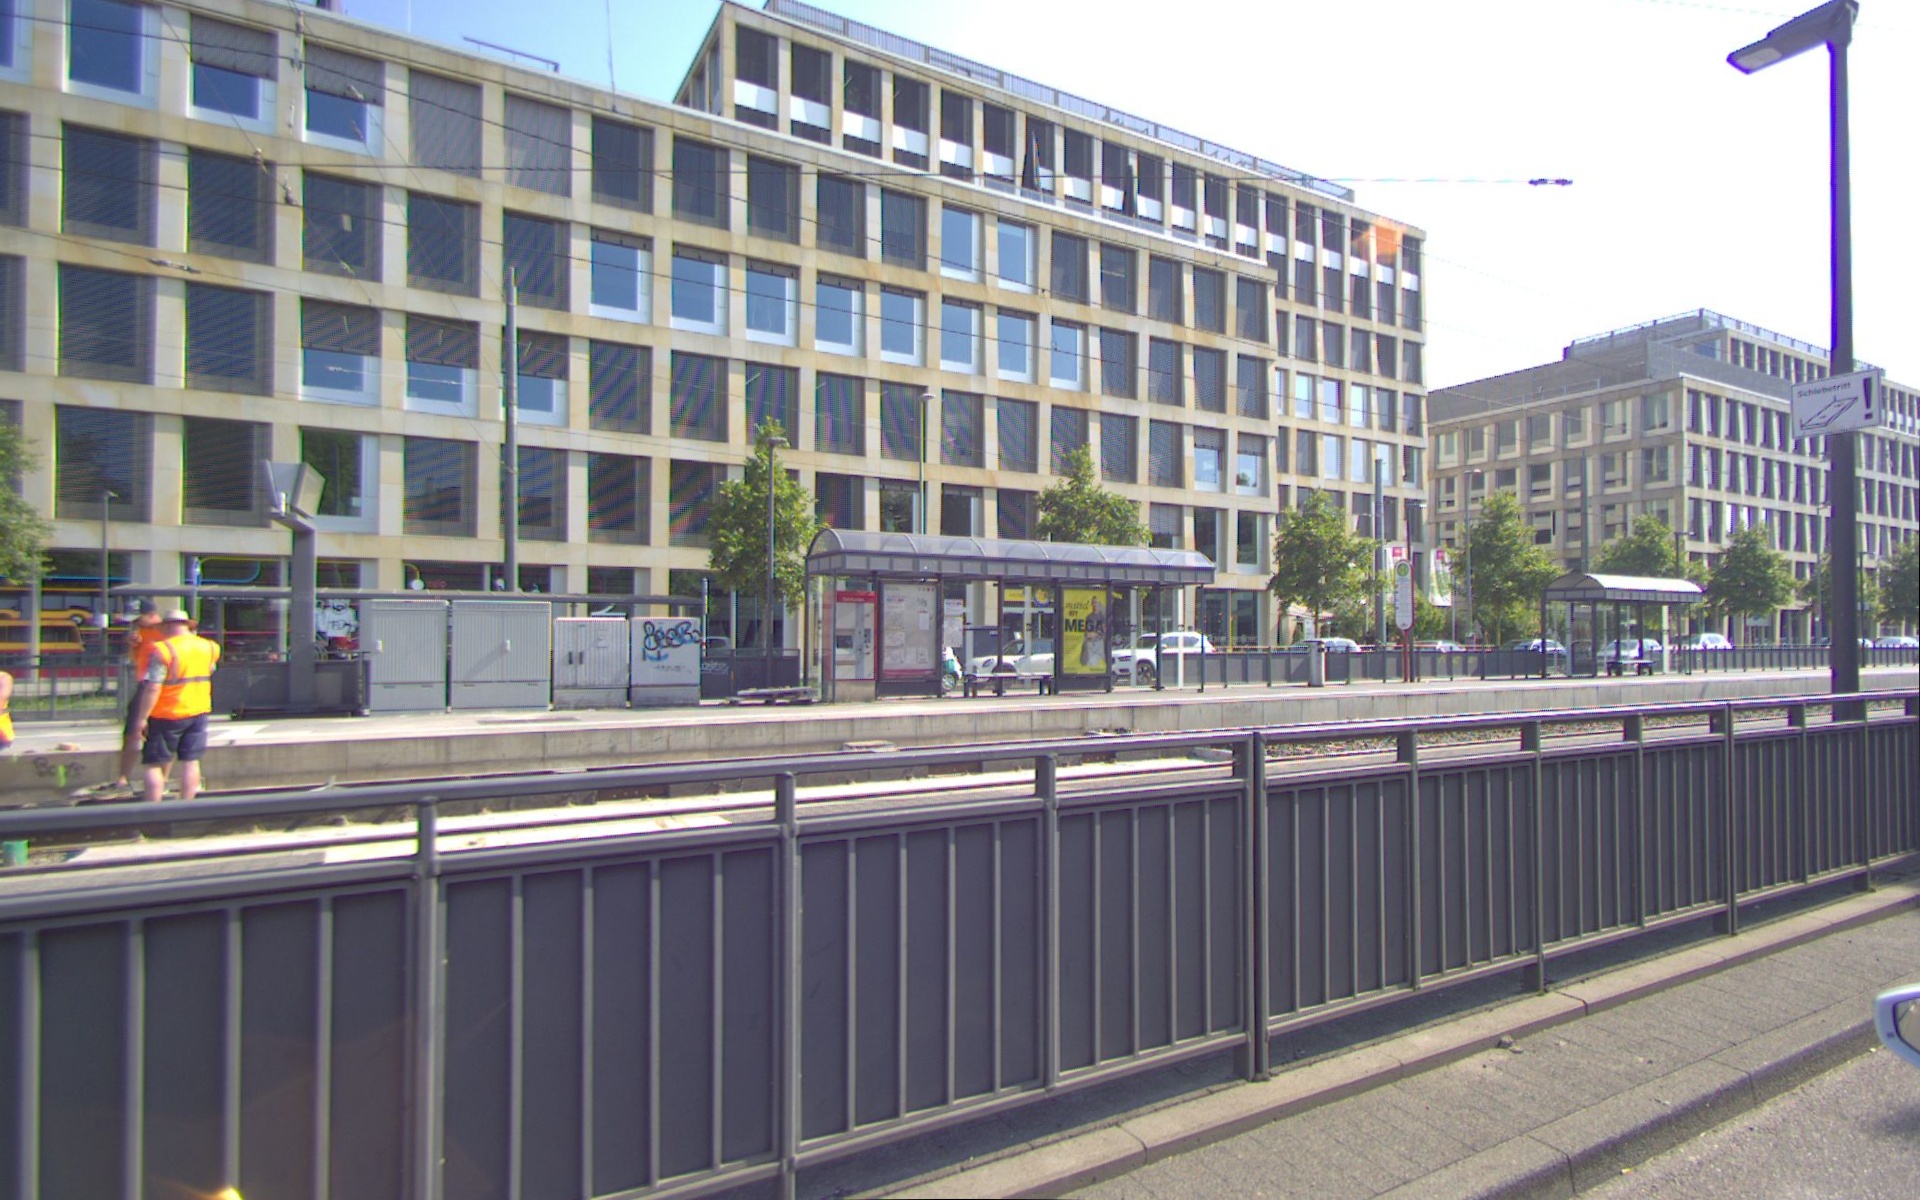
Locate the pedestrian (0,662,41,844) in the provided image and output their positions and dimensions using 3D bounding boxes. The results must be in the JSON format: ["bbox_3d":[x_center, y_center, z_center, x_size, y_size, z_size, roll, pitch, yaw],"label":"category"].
[{"bbox_3d":[-8.685,1.352,8.926,0.630,1.575,0.624,-2,-2,34],"label":"pedestrian"}]

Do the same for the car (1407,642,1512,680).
[{"bbox_3d":[19.965,2.417,40.109,4.323,1.426,1.676,1,-3,-31],"label":"car"}]

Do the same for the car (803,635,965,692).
[{"bbox_3d":[-2.020,1.673,27.054,3.954,1.422,1.892,1,-3,-31],"label":"car"}]

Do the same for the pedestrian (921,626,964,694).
[{"bbox_3d":[-0.455,1.520,25.760,0.868,1.698,0.835,1,-2,-24],"label":"pedestrian"}]

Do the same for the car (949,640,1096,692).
[{"bbox_3d":[1.836,1.883,29.433,3.954,1.422,1.892,1,-3,-31],"label":"car"}]

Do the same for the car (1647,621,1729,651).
[{"bbox_3d":[35.863,1.784,49.454,4.320,1.426,1.676,1,-3,-31],"label":"car"}]

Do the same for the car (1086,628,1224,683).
[{"bbox_3d":[6.259,1.739,32.114,4.273,1.647,1.780,1,-3,-33],"label":"car"}]

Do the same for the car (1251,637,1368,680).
[{"bbox_3d":[12.315,2.039,35.383,3.954,1.426,1.781,1,-3,-31],"label":"car"}]

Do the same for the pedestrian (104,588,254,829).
[{"bbox_3d":[-6.742,0.905,8.715,0.775,1.976,0.723,0,-2,-15],"label":"pedestrian"}]

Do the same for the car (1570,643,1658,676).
[{"bbox_3d":[30.082,2.719,46.163,4.323,1.426,1.676,1,-3,-31],"label":"car"}]

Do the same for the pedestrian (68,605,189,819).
[{"bbox_3d":[-7.531,0.982,9.106,0.615,1.839,0.640,-1,-2,28],"label":"pedestrian"}]
